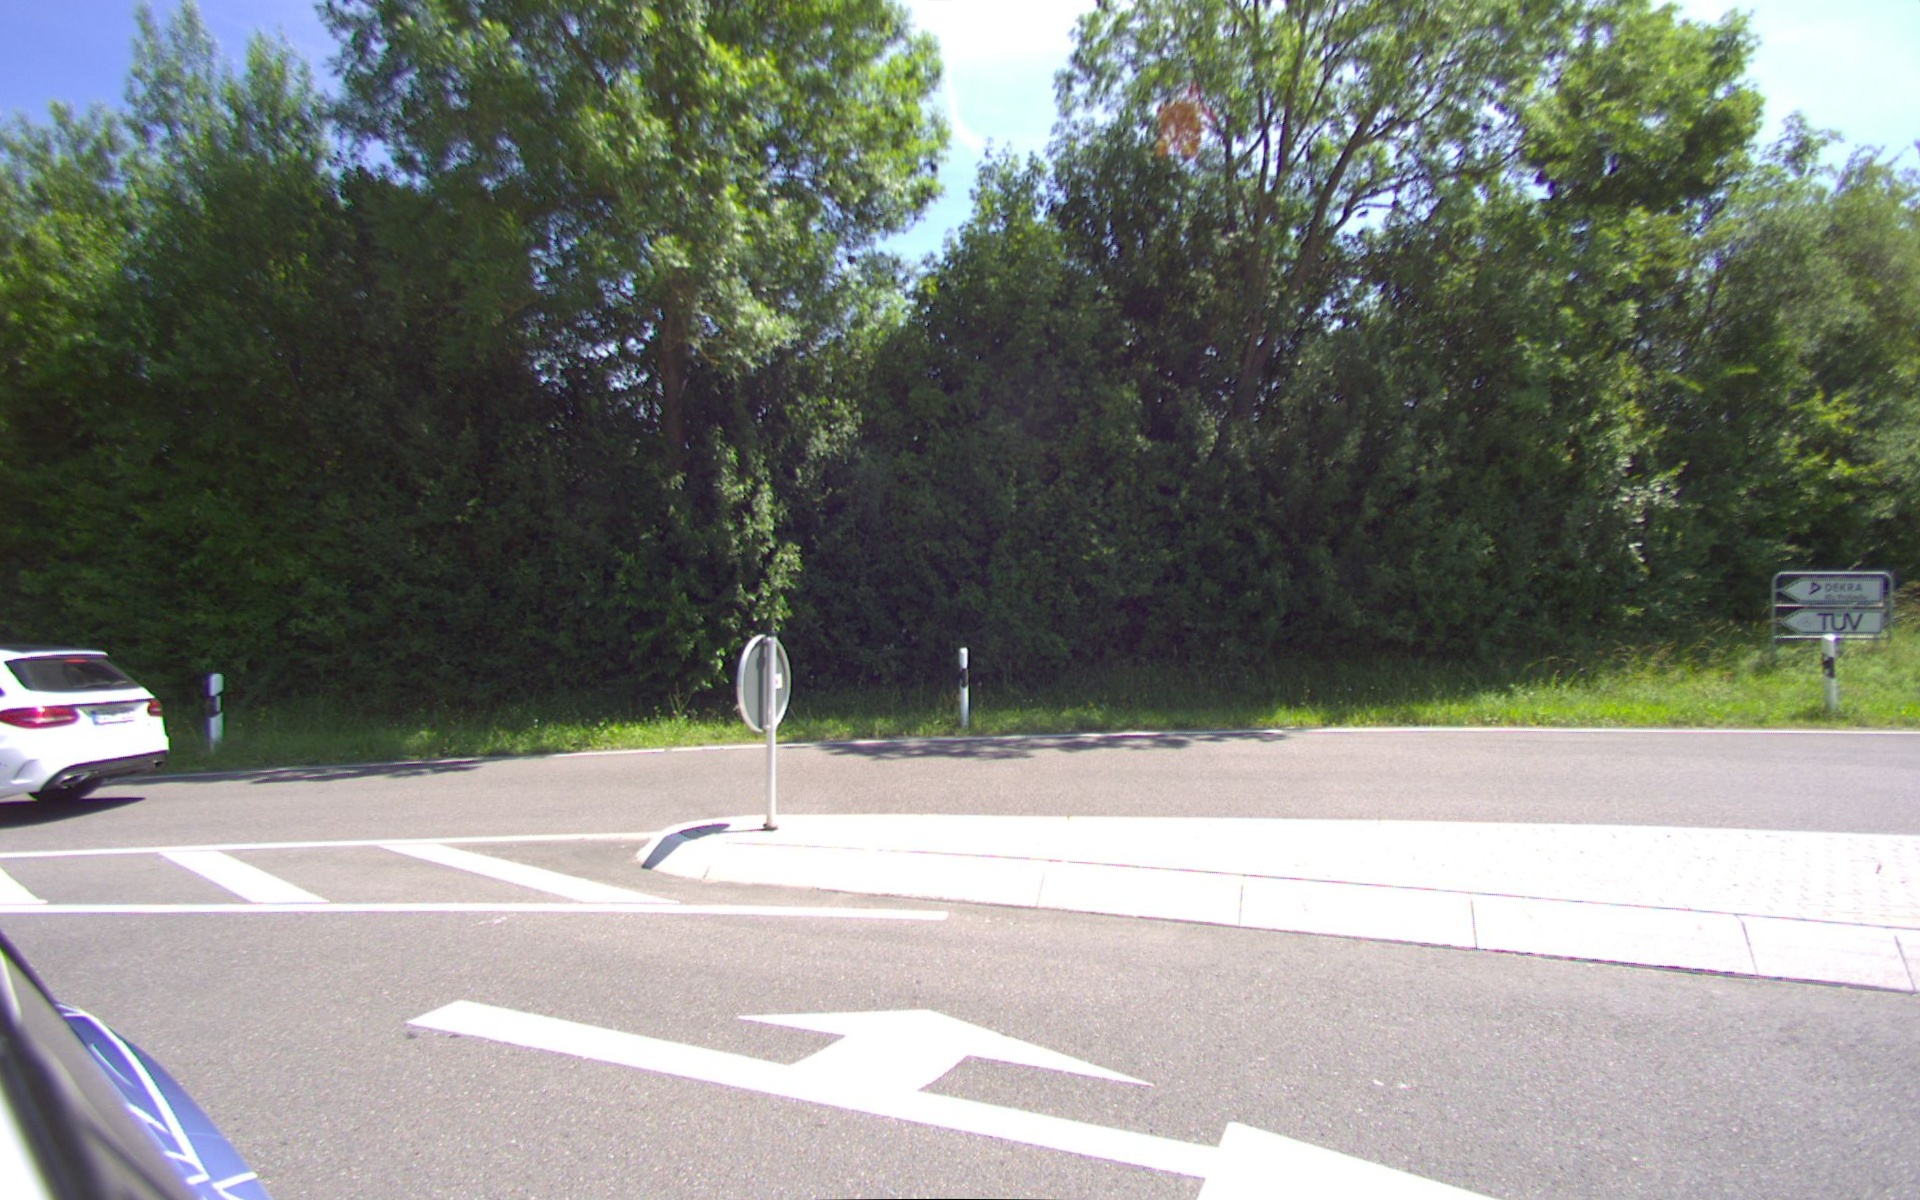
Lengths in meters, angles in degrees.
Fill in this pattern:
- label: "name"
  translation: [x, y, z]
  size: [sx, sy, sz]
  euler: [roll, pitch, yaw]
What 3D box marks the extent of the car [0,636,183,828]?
- label: "car"
  translation: [-9.743, 1.091, 8.234]
  size: [5.251, 1.423, 1.813]
  euler: [-2, -1, -7]
